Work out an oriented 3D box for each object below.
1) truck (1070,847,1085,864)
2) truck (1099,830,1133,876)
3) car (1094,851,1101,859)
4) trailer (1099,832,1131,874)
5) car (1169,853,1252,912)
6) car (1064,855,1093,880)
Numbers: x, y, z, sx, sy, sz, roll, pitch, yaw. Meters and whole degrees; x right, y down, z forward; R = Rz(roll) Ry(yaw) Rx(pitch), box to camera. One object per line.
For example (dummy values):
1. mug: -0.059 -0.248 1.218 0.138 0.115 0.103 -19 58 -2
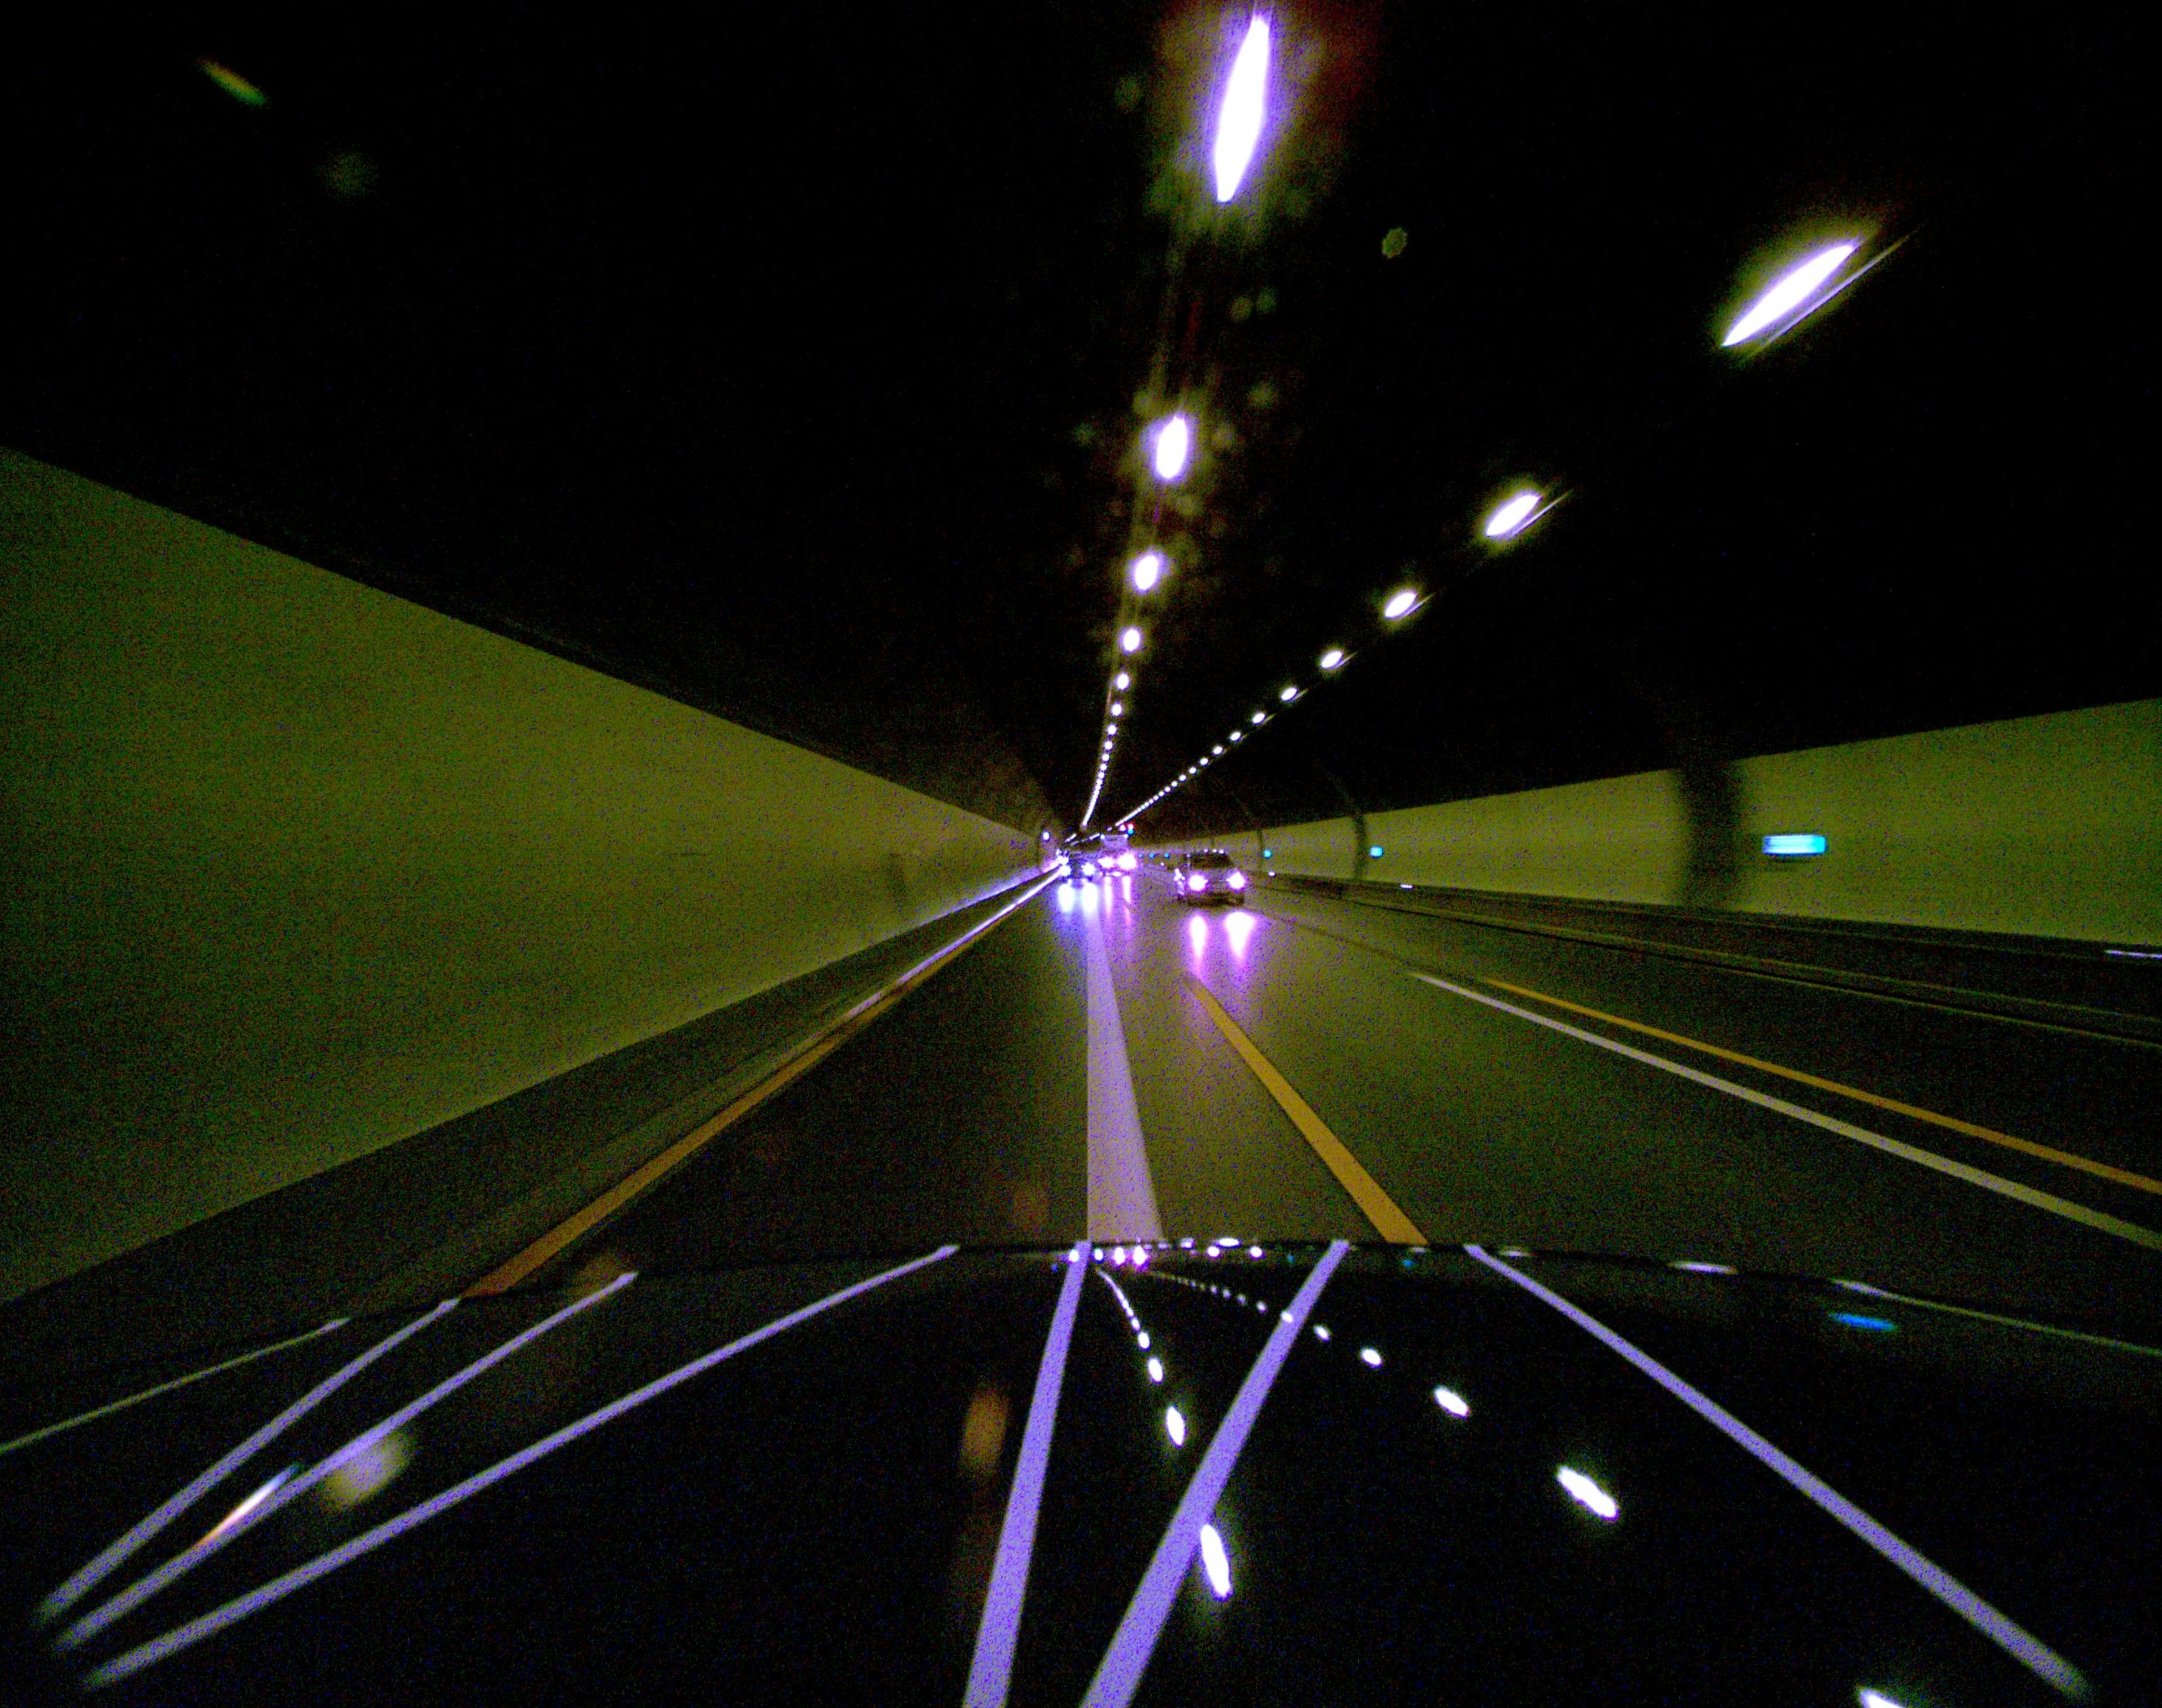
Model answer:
1. truck: -0.673 0.300 127.367 2.151 2.608 9.907 -1 -1 -2
2. truck: 2.735 -0.090 60.198 2.374 3.328 4.719 -3 0 1
3. car: 4.845 0.287 225.562 1.929 2.002 4.000 -2 0 1
4. trailer: 2.847 -0.102 66.890 2.374 3.328 12.078 0 0 1
5. car: 3.832 0.797 23.131 1.766 1.563 4.097 -1 1 -1
6. car: -0.128 0.846 48.092 1.728 1.474 4.000 -1 0 0
